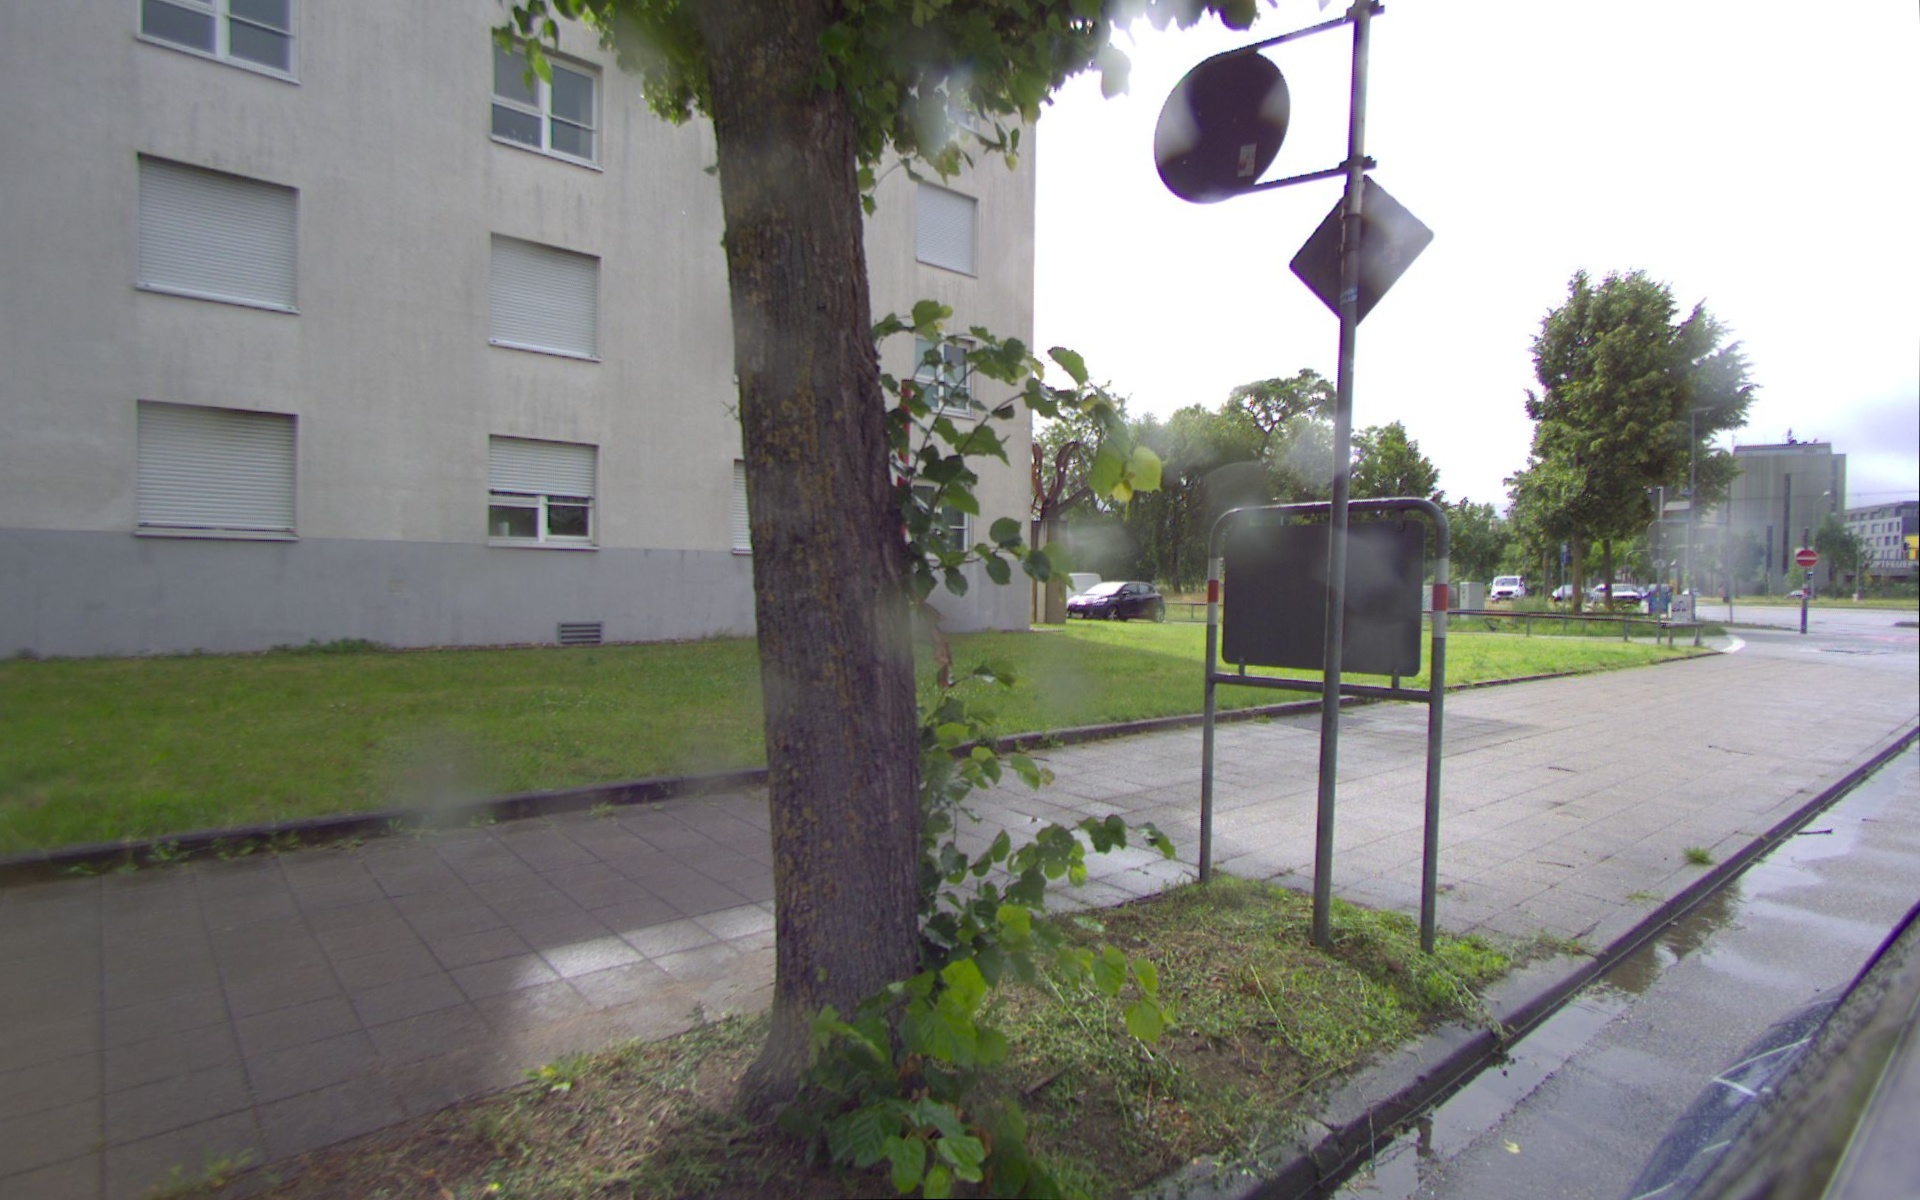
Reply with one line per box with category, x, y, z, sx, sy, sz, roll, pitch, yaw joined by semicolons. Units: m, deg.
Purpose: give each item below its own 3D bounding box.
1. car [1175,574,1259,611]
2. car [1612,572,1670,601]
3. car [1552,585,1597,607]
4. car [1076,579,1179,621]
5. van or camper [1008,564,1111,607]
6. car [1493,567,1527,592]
car;11.564;-0.340;45.516;3.707;1.568;1.932;0;2;-42
car;42.385;-0.845;62.947;4.126;1.710;1.669;0;0;-36
car;45.705;-0.325;75.191;3.931;1.616;1.768;-1;1;-41
car;5.763;-0.018;34.565;3.809;1.342;1.389;0;2;-42
van or camper;5.166;-0.720;52.188;5.579;2.131;1.997;0;0;-41
car;40.406;-1.519;74.370;1.879;1.735;4.180;2;2;33
